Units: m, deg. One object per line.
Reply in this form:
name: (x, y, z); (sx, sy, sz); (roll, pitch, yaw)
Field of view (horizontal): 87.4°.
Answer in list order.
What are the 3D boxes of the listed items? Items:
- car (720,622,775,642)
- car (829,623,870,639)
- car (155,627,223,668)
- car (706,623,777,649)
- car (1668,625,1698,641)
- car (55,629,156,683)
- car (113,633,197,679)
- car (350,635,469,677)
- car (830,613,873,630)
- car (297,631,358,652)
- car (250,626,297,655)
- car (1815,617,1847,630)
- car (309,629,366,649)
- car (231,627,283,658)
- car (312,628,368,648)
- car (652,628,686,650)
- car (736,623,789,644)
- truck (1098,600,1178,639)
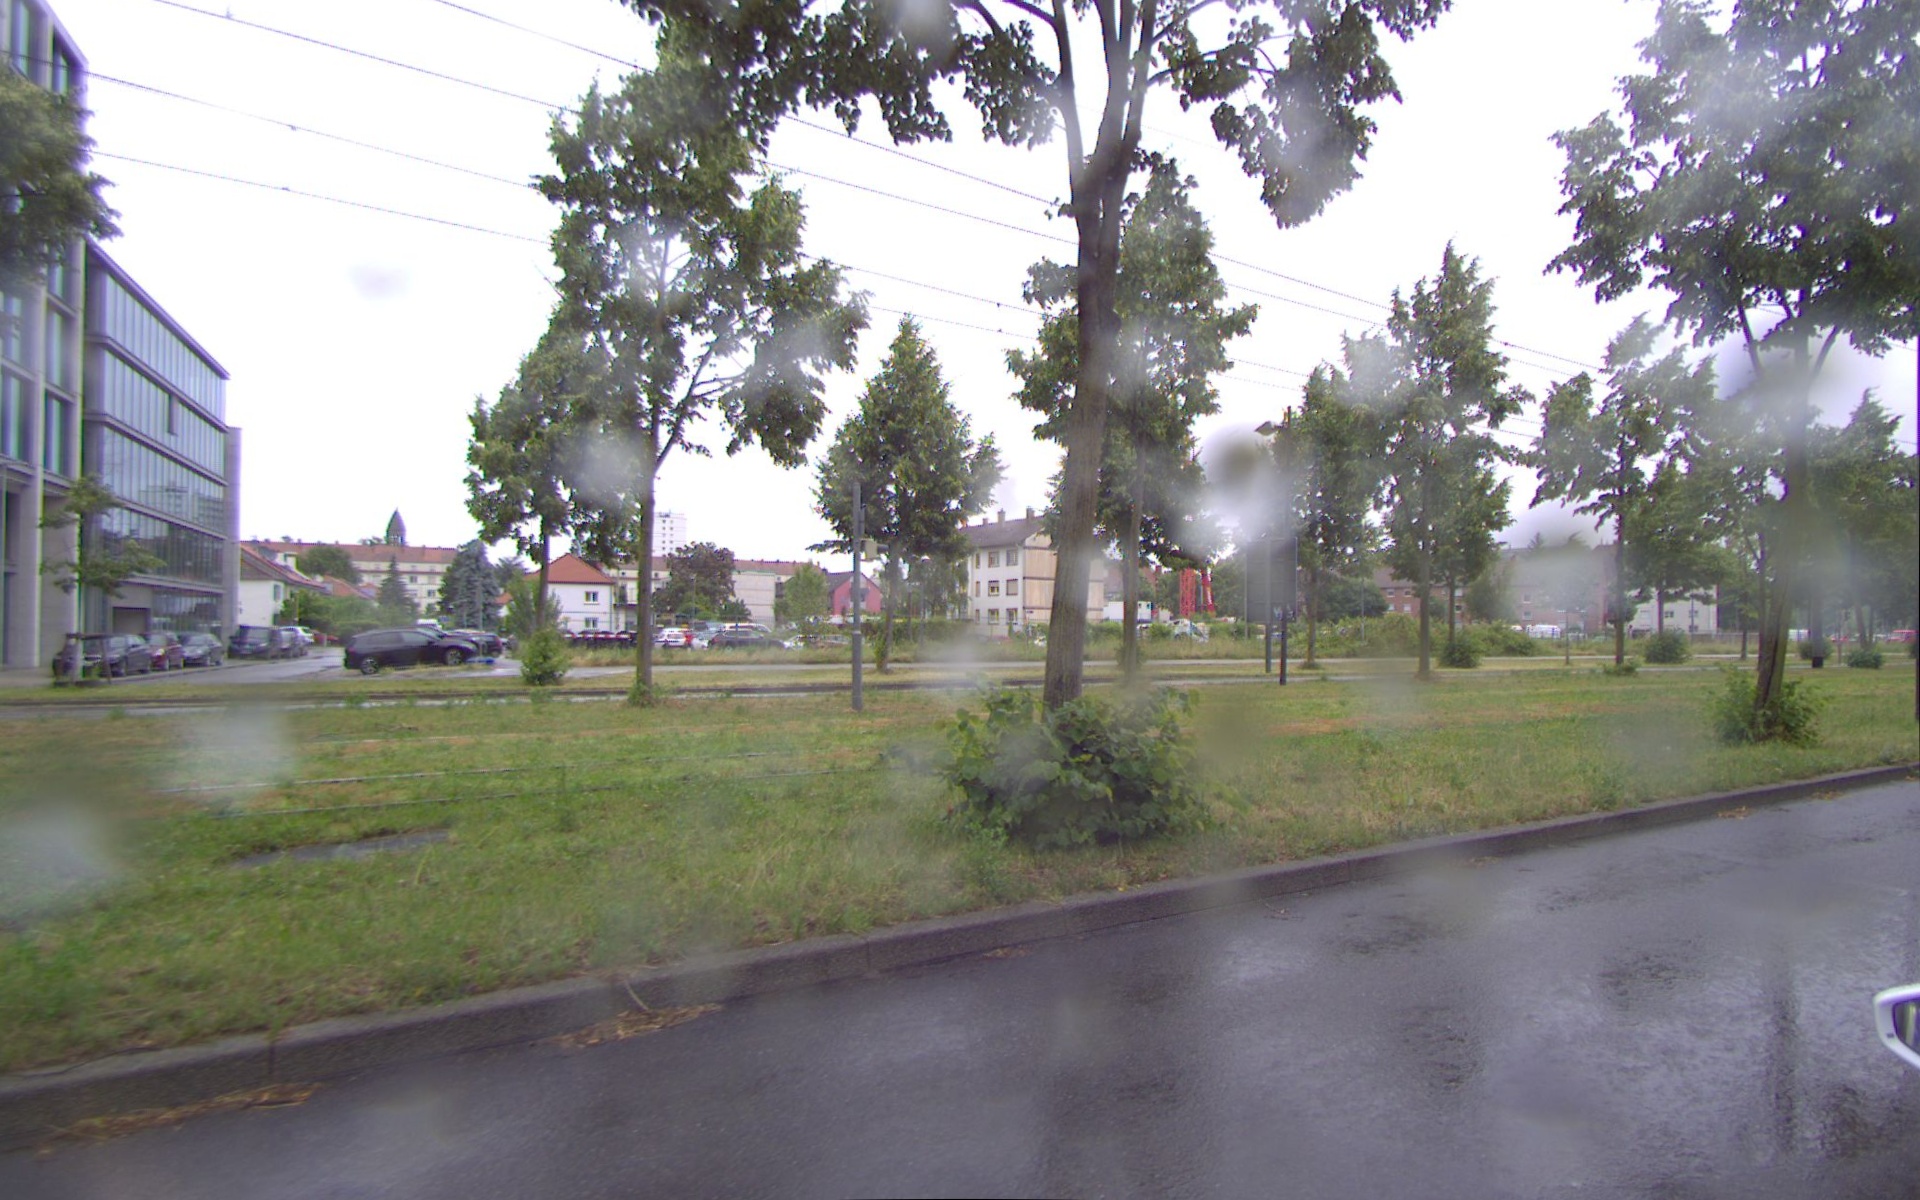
car: (-16.148, 2.382, 76.298); (3.849, 1.368, 1.685); (-1, 0, -26)
car: (-8.338, 2.334, 75.876); (2.770, 1.123, 1.226); (-1, 0, -26)
car: (-33.851, 2.041, 44.193); (1.575, 1.630, 3.593); (-1, 0, -25)
car: (-12.973, 2.133, 59.740); (3.849, 1.368, 1.685); (-1, 0, -26)
car: (102.510, 4.644, 142.372); (3.954, 2.040, 1.983); (-1, 0, -31)
car: (-29.218, 1.862, 34.469); (1.721, 1.630, 3.776); (-1, 0, -26)
car: (-32.177, 2.209, 40.277); (1.721, 1.630, 4.133); (-1, 0, -26)
car: (-19.600, 1.961, 35.809); (3.620, 1.256, 1.492); (-1, 0, -34)
car: (-8.646, 1.693, 80.348); (3.203, 1.214, 1.184); (-1, 0, -26)
car: (-52.883, 3.451, 84.016); (4.192, 1.630, 1.728); (-1, 0, -35)
car: (-42.320, 2.477, 62.008); (1.721, 1.630, 4.208); (-1, 0, -26)
car: (131.713, 3.538, 151.857); (3.486, 1.762, 1.700); (-2, 0, 36)
car: (-54.753, 3.406, 88.419); (4.192, 1.630, 1.728); (-1, 0, -35)
car: (-39.650, 2.373, 56.723); (1.721, 1.630, 4.208); (-1, 0, -26)
car: (-55.859, 3.418, 90.461); (4.192, 1.630, 1.728); (-1, 0, -35)
car: (-20.282, 2.676, 69.830); (1.672, 1.368, 3.878); (-1, 0, -25)
car: (-14.324, 2.409, 72.913); (3.573, 1.368, 1.316); (-1, 0, -26)
truck: (26.759, 2.848, 150.436); (6.106, 5.468, 13.253); (-2, 0, 39)
